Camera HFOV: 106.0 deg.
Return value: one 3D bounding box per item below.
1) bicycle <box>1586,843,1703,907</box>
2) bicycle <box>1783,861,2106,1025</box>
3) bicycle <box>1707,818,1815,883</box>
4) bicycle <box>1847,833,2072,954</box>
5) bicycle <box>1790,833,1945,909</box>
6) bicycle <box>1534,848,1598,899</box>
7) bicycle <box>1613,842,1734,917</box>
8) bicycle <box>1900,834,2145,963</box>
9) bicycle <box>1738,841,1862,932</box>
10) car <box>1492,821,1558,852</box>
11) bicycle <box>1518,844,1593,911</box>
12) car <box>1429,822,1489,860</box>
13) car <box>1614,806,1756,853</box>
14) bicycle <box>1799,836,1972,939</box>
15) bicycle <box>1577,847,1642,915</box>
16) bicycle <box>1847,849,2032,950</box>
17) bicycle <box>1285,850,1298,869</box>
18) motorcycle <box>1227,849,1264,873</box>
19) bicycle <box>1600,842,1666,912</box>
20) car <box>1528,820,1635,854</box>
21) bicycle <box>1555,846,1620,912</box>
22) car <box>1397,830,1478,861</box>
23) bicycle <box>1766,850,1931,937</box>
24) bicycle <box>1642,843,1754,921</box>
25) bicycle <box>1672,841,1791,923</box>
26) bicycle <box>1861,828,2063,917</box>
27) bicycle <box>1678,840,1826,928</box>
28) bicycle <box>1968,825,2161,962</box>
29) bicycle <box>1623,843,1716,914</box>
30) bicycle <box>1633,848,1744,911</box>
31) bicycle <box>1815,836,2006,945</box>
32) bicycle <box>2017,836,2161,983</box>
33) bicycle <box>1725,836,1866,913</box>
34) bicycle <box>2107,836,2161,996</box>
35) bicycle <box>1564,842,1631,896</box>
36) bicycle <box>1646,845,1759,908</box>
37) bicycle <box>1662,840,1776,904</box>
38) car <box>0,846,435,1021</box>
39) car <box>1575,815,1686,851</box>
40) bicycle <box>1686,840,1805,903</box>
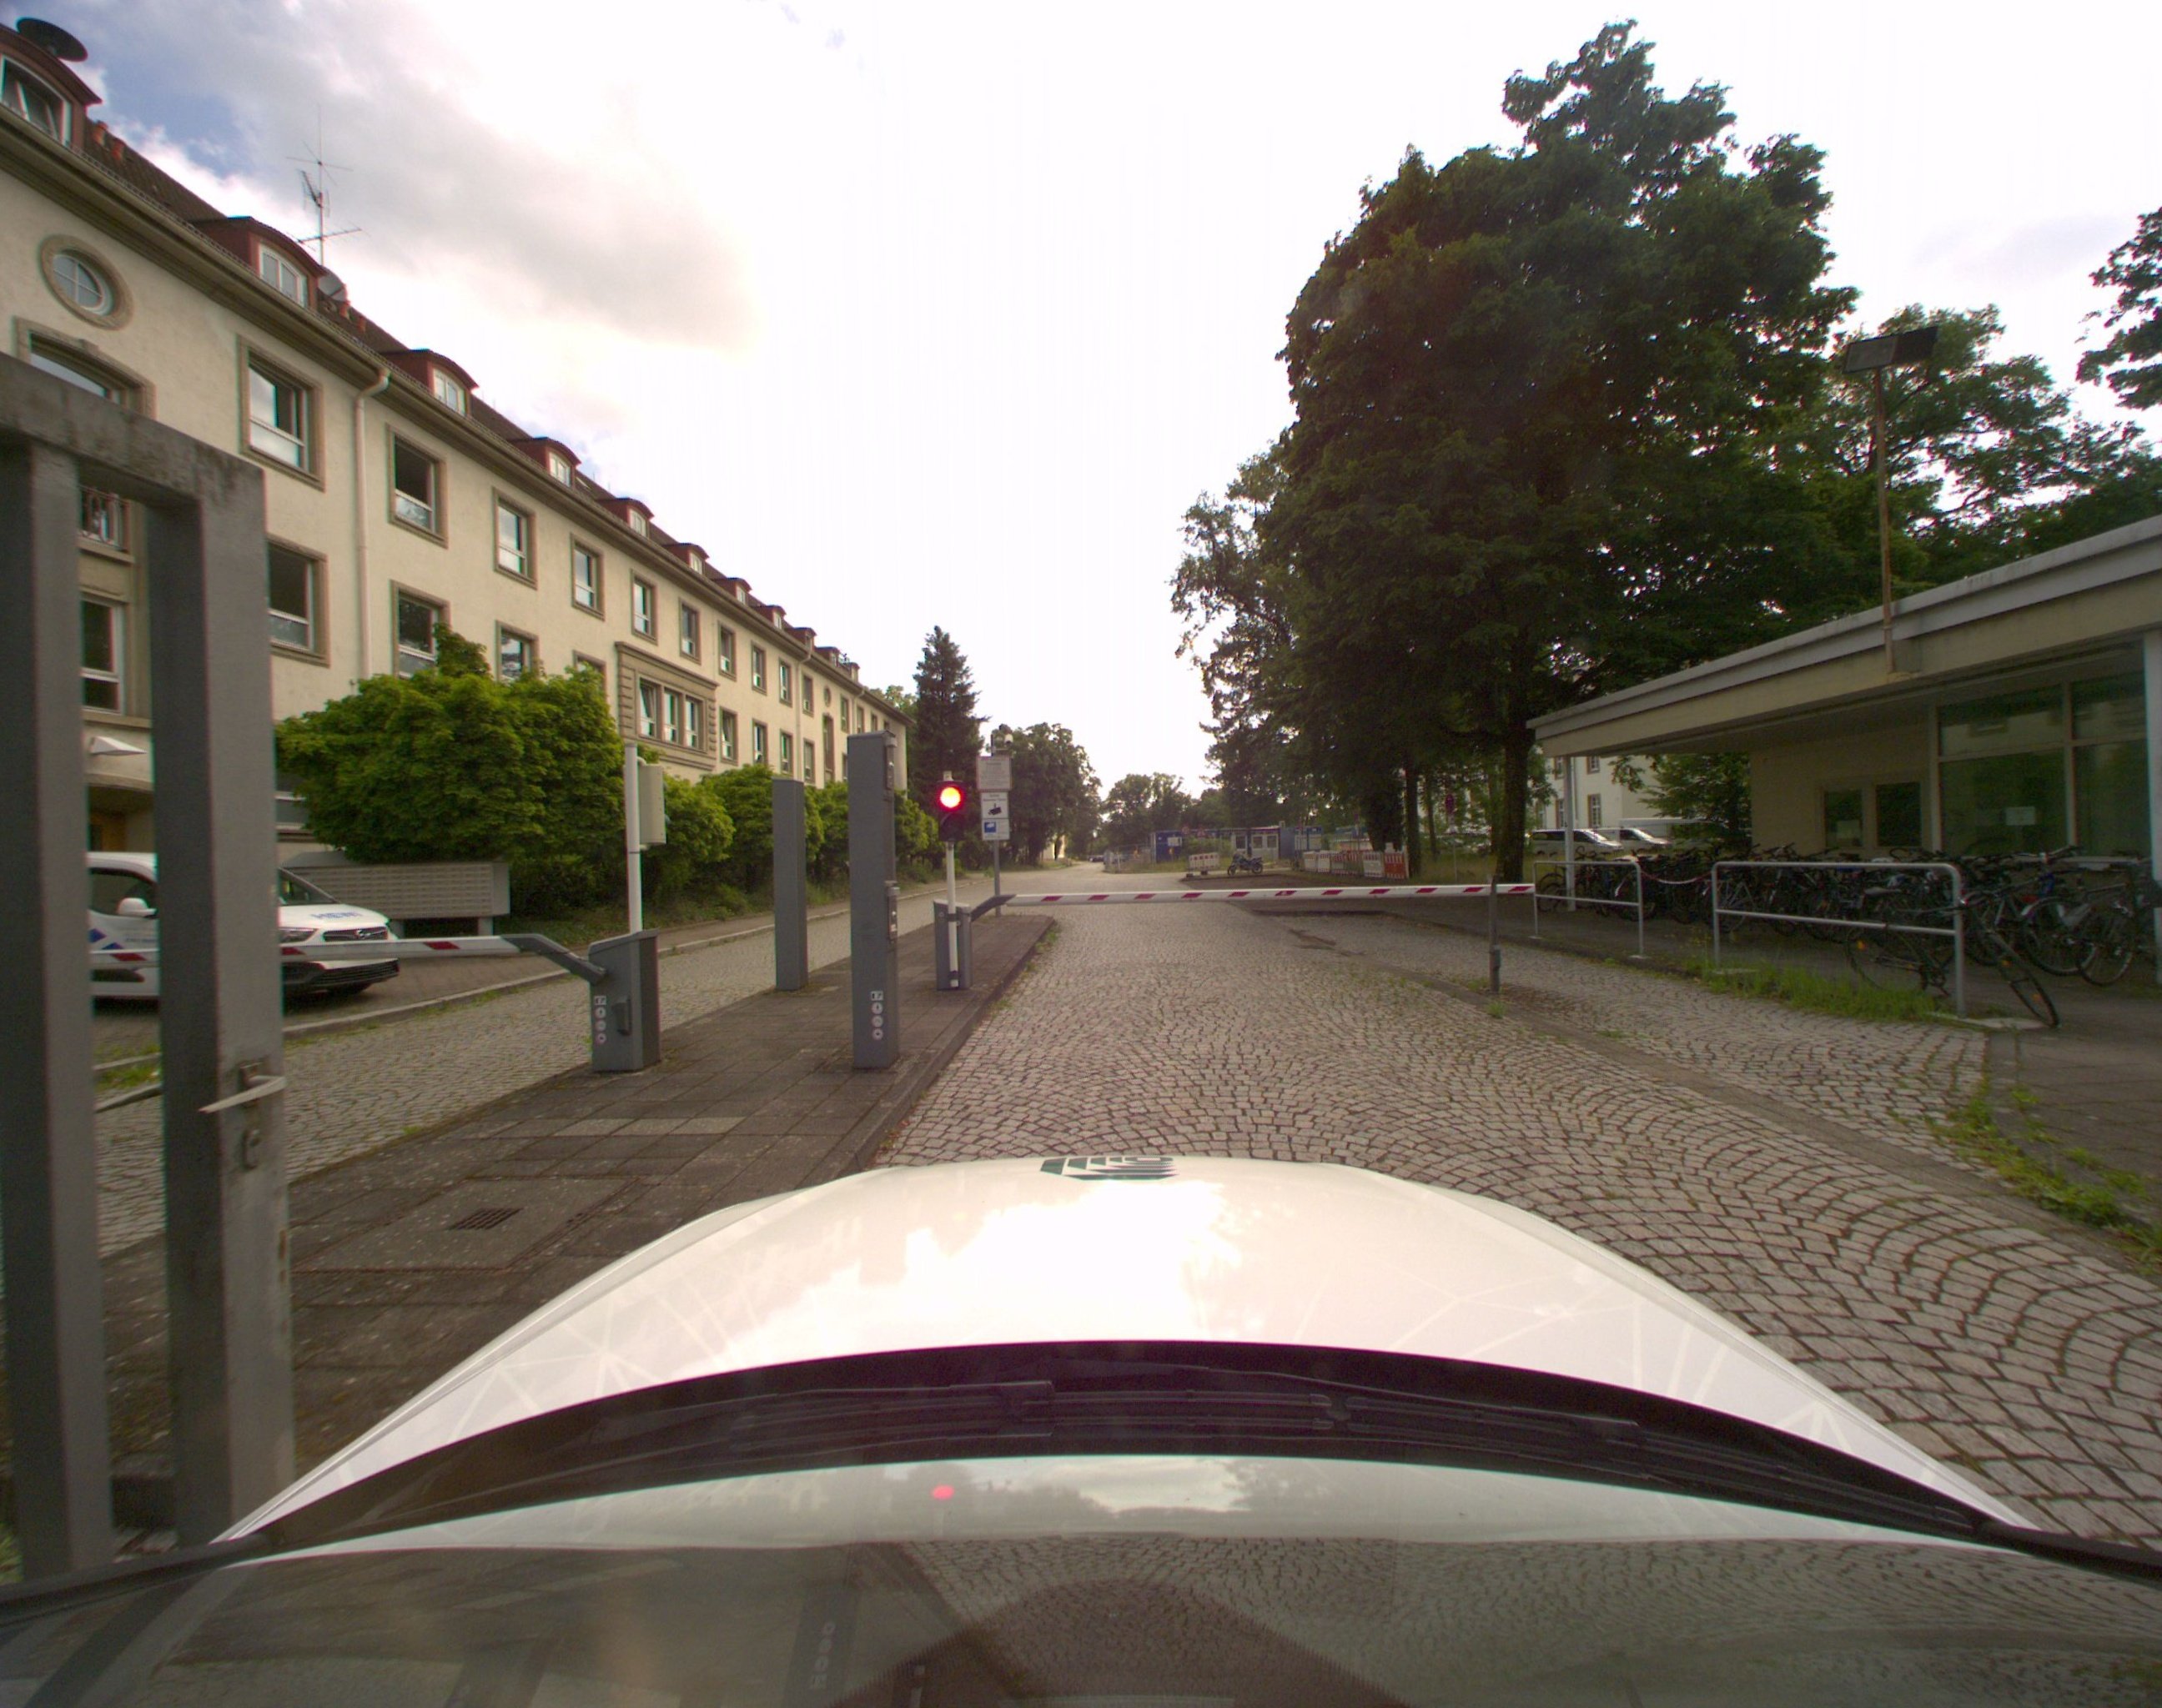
[{"bbox_3d":[10.508,0.409,15.268,0.446,1.119,1.785,-2,-2,-23],"label":"bicycle"},{"bbox_3d":[6.629,0.615,6.415,0.727,1.072,1.715,-2,0,2],"label":"bicycle"},{"bbox_3d":[12.680,-0.039,15.266,0.370,1.128,1.898,-2,-2,0],"label":"bicycle"},{"bbox_3d":[9.354,0.409,8.686,2.067,1.171,0.392,-2,-2,-5],"label":"bicycle"},{"bbox_3d":[12.428,0.280,12.957,0.371,1.119,1.892,-2,-2,-9],"label":"bicycle"},{"bbox_3d":[11.062,0.418,18.628,0.502,1.086,1.585,-2,1,0],"label":"bicycle"},{"bbox_3d":[9.980,0.431,13.735,1.797,1.171,0.358,-2,-2,-5],"label":"bicycle"},{"bbox_3d":[9.443,0.434,8.191,1.945,1.171,0.485,-2,-2,-4],"label":"bicycle"},{"bbox_3d":[9.881,0.433,11.185,1.704,1.160,0.399,-2,-2,-18],"label":"bicycle"},{"bbox_3d":[30.529,-1.152,56.202,1.986,2.013,4.842,-2,0,1],"label":"car"},{"bbox_3d":[9.199,0.440,15.783,1.383,1.170,0.431,-4,2,-20],"label":"bicycle"},{"bbox_3d":[26.025,-0.811,56.292,1.984,2.424,5.364,-2,-1,5],"label":"car"},{"bbox_3d":[34.051,-1.344,46.184,2.006,2.308,6.141,-1,-1,-29],"label":"car"},{"bbox_3d":[10.045,0.406,10.180,1.978,1.171,0.400,-2,-2,-10],"label":"bicycle"},{"bbox_3d":[9.596,0.475,14.771,1.387,1.171,0.355,-1,-3,-31],"label":"bicycle"},{"bbox_3d":[9.547,0.499,9.069,1.767,1.031,0.353,-2,-2,-5],"label":"bicycle"},{"bbox_3d":[12.212,0.337,47.308,0.330,1.007,1.726,-2,-2,1],"label":"bicycle"},{"bbox_3d":[9.259,0.404,45.803,1.950,1.194,0.461,-4,5,0],"label":"motorcycle"},{"bbox_3d":[9.776,0.394,14.422,1.387,1.171,0.355,-1,-3,-31],"label":"bicycle"},{"bbox_3d":[28.147,-0.932,45.951,2.004,1.650,4.798,-1,-1,-26],"label":"car"},{"bbox_3d":[9.422,0.454,15.138,1.387,1.171,0.355,-1,-3,-31],"label":"bicycle"},{"bbox_3d":[22.613,-0.536,51.787,4.201,1.820,2.002,-2,-1,3],"label":"car"},{"bbox_3d":[9.986,0.504,10.602,1.978,1.029,0.400,-2,-2,-10],"label":"bicycle"},{"bbox_3d":[9.963,0.440,13.144,1.749,1.171,0.494,-2,-2,-19],"label":"bicycle"},{"bbox_3d":[10.082,0.426,12.624,1.806,1.171,0.494,-2,-2,-19],"label":"bicycle"},{"bbox_3d":[11.959,0.262,11.106,1.878,1.119,0.447,-3,-2,14],"label":"bicycle"},{"bbox_3d":[9.694,0.421,11.780,1.800,1.171,0.581,-2,-2,-11],"label":"bicycle"},{"bbox_3d":[9.544,0.342,7.532,2.063,1.171,0.486,-2,-2,0],"label":"bicycle"},{"bbox_3d":[10.227,0.426,14.151,1.377,1.171,0.358,-2,-2,-7],"label":"bicycle"},{"bbox_3d":[11.116,0.445,14.988,0.371,1.067,1.907,-2,0,-9],"label":"bicycle"},{"bbox_3d":[9.733,0.416,9.565,2.015,1.171,0.400,-2,-2,-9],"label":"bicycle"},{"bbox_3d":[8.911,0.445,6.875,1.386,1.171,0.436,-2,-2,2],"label":"bicycle"},{"bbox_3d":[11.853,0.300,13.602,0.371,1.118,1.893,-10,4,-8],"label":"bicycle"},{"bbox_3d":[8.844,0.447,6.487,1.656,1.171,0.432,-3,-2,-26],"label":"bicycle"},{"bbox_3d":[11.712,0.354,18.515,0.502,1.171,1.554,-2,-2,1],"label":"bicycle"},{"bbox_3d":[11.463,0.422,15.108,0.371,1.081,1.892,-2,-2,-8],"label":"bicycle"},{"bbox_3d":[11.827,0.324,15.179,0.371,1.119,1.892,-2,0,-9],"label":"bicycle"},{"bbox_3d":[-10.714,0.857,9.694,4.424,1.751,1.858,2,0,-2],"label":"car"},{"bbox_3d":[30.990,-1.145,46.085,2.004,1.789,4.798,-1,-1,-26],"label":"car"},{"bbox_3d":[12.237,0.338,15.075,0.371,1.083,1.892,-2,-2,-9],"label":"bicycle"}]
